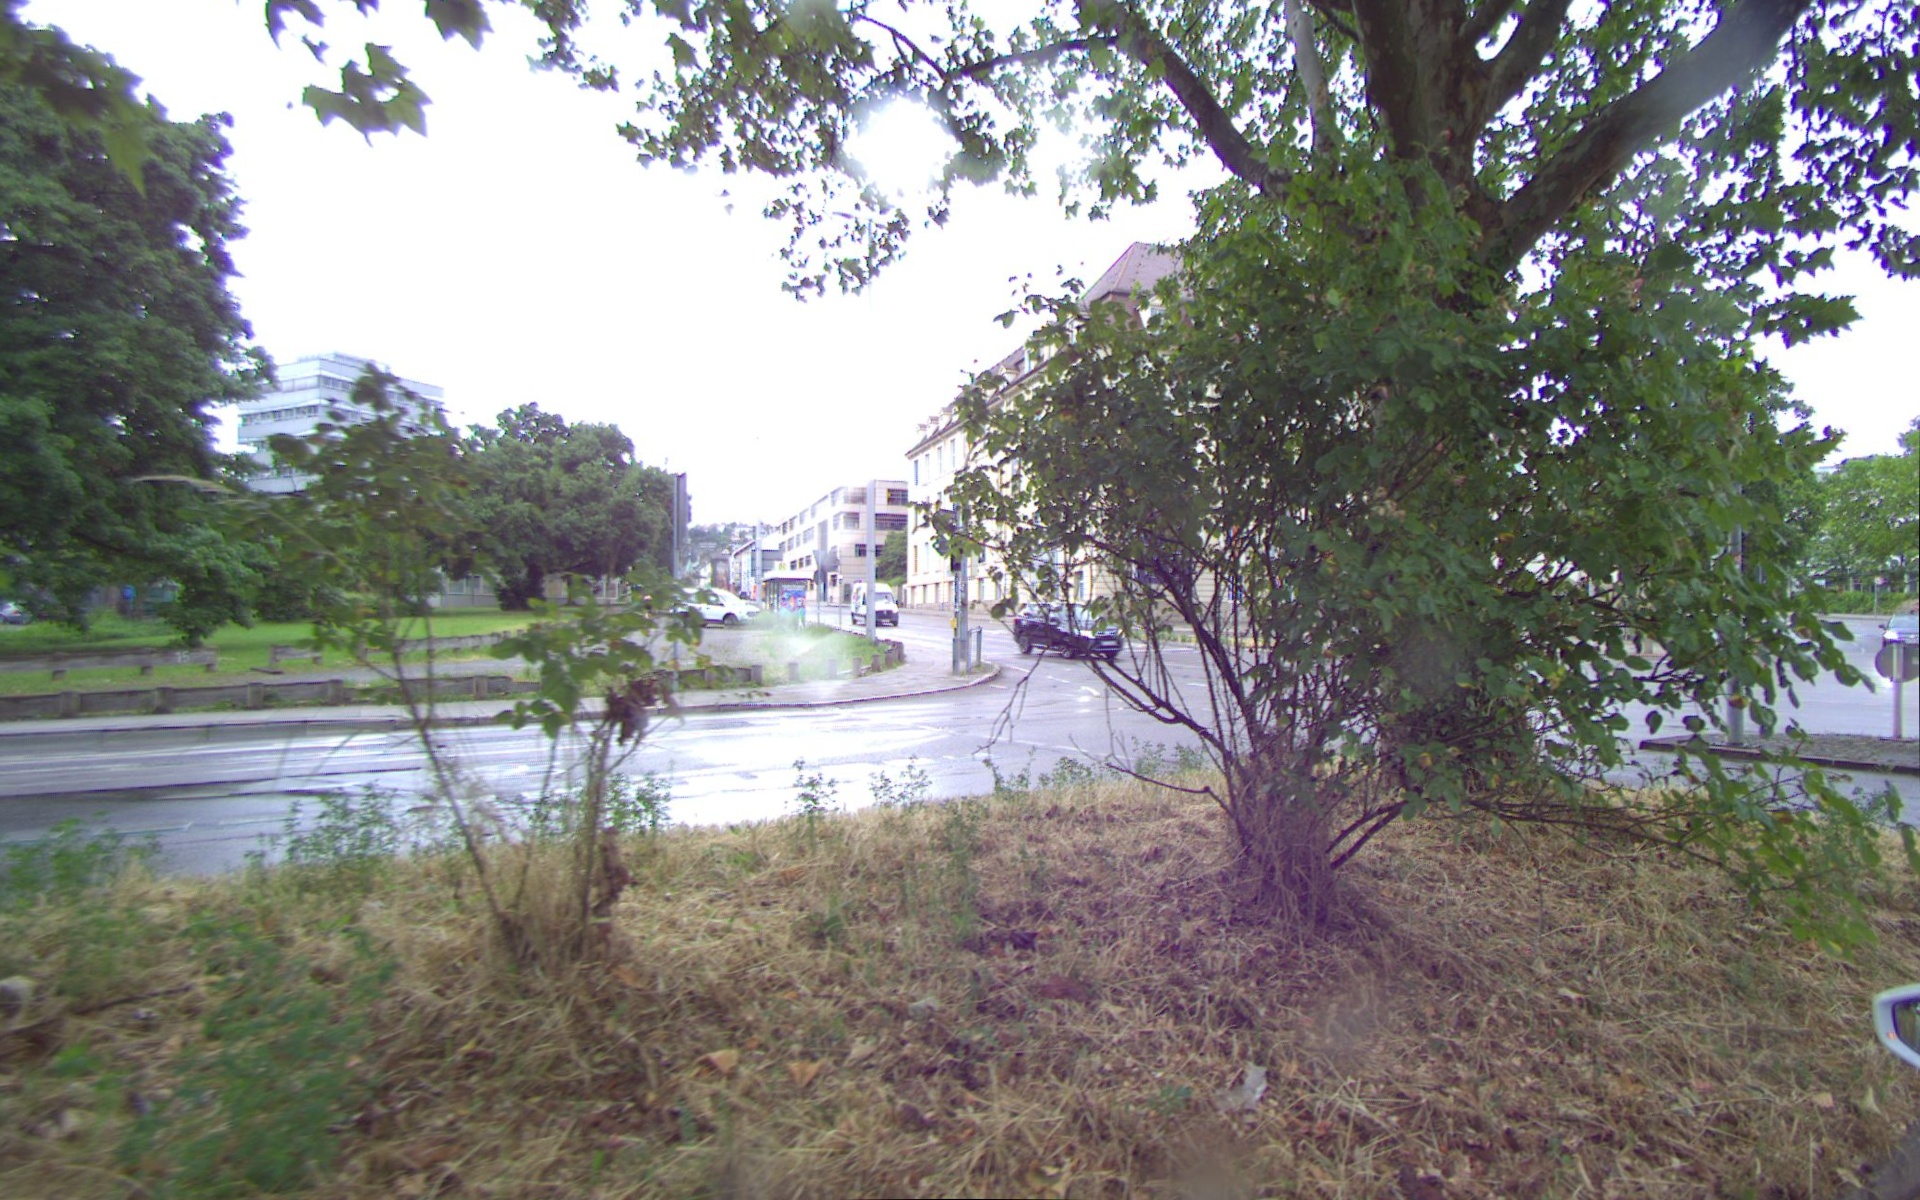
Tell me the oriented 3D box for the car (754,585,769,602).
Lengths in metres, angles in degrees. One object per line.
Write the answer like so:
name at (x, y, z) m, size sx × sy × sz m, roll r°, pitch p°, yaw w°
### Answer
car at (-33.411, -1.083, 168.914) m, size 1.969 × 2.652 × 3.983 m, roll 2°, pitch 0°, yaw -19°

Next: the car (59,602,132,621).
car at (-60.156, 0.821, 69.941) m, size 3.500 × 1.158 × 1.586 m, roll 2°, pitch 0°, yaw -18°

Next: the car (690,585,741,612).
car at (-16.528, -0.082, 67.753) m, size 1.838 × 1.765 × 4.029 m, roll 1°, pitch -1°, yaw -39°

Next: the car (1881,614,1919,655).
car at (39.491, 1.384, 41.688) m, size 1.847 × 1.585 × 4.252 m, roll -1°, pitch 0°, yaw 43°

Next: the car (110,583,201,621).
car at (-65.210, 0.110, 81.616) m, size 3.541 × 2.855 × 6.441 m, roll 2°, pitch 0°, yaw -17°

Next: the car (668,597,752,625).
car at (-13.506, 0.613, 54.344) m, size 3.993 × 1.461 × 1.855 m, roll 0°, pitch -1°, yaw 16°

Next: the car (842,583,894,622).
car at (-6.062, 0.116, 65.600) m, size 1.969 × 2.344 × 5.902 m, roll 2°, pitch 0°, yaw -19°

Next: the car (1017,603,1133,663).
car at (3.515, 0.957, 31.597) m, size 1.770 × 1.728 × 4.667 m, roll 0°, pitch 0°, yaw -20°

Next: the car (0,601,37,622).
car at (-57.664, 0.679, 59.882) m, size 3.500 × 1.158 × 1.586 m, roll 2°, pitch 0°, yaw -18°

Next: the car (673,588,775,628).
car at (-10.995, 0.382, 46.867) m, size 4.420 × 1.791 × 1.833 m, roll 0°, pitch -1°, yaw 24°

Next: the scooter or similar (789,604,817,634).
scooter or similar at (-6.393, 0.776, 40.955) m, size 0.541 × 1.182 × 1.253 m, roll 2°, pitch 0°, yaw 20°

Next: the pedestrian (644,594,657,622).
pedestrian at (-17.985, 0.460, 58.314) m, size 0.557 × 1.549 × 0.669 m, roll 2°, pitch 0°, yaw -8°

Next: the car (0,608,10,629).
car at (-55.471, 0.984, 55.845) m, size 3.500 × 1.158 × 1.586 m, roll 2°, pitch 0°, yaw -18°
